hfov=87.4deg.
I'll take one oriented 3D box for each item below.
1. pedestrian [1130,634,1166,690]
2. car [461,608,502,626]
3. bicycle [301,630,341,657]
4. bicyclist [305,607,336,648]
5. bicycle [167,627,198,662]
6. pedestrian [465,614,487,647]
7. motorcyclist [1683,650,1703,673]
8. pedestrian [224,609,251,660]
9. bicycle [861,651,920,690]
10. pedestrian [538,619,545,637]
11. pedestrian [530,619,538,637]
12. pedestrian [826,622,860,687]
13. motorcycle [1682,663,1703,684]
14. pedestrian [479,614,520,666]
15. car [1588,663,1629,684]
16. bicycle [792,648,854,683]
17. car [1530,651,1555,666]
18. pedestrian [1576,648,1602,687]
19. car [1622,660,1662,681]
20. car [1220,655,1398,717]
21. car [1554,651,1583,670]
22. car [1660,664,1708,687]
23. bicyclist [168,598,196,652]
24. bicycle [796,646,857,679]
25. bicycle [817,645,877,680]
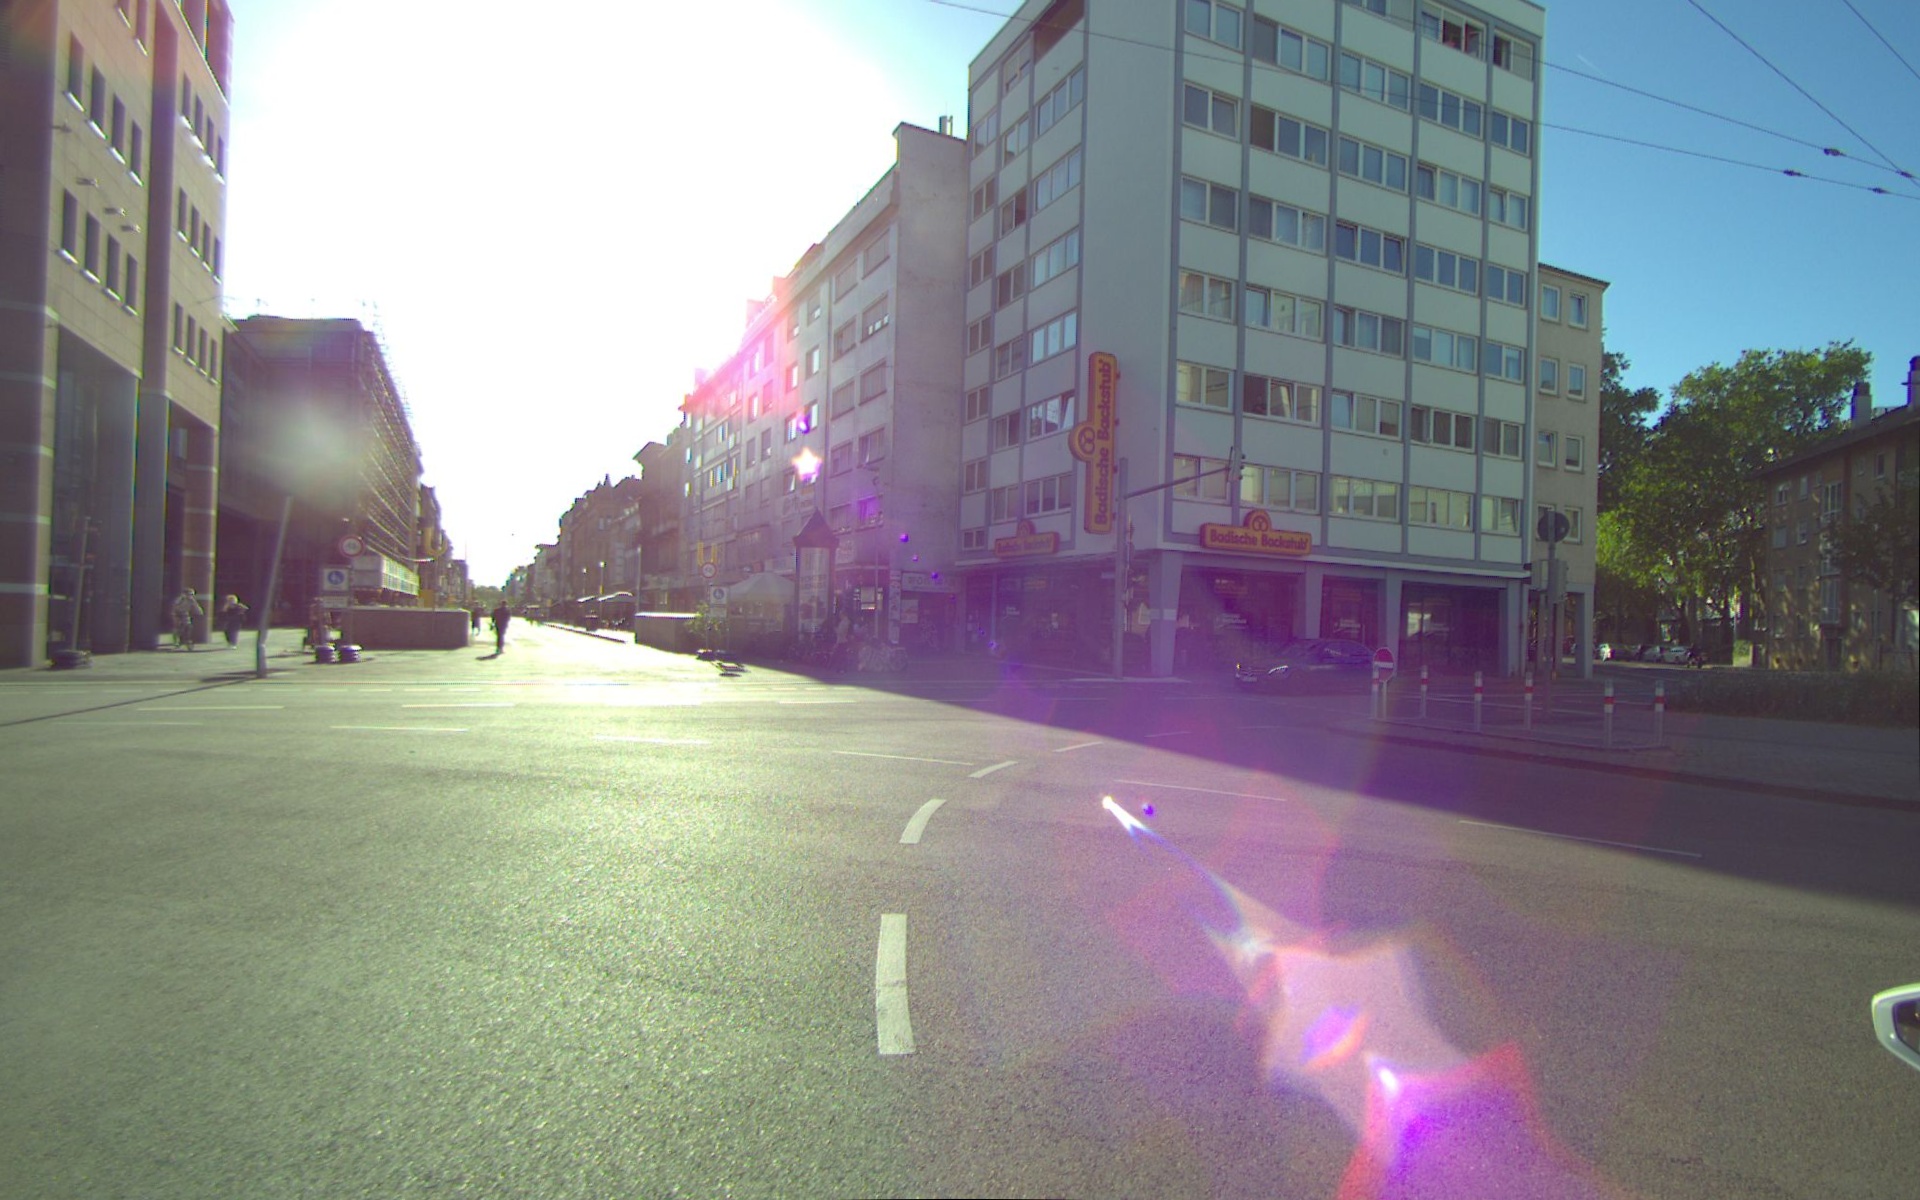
[{"bbox_3d":[5.996,1.967,32.019,0.766,1.747,0.802,2,0,-25],"label":"pedestrian"},{"bbox_3d":[-85.382,3.097,179.283,6.233,2.946,2.546,2,1,-33],"label":"car"},{"bbox_3d":[-21.331,1.448,33.510,1.989,0.818,0.614,1,0,42],"label":"bicycle"},{"bbox_3d":[-21.354,0.925,33.542,0.943,1.329,0.614,1,0,41],"label":"bicyclist"},{"bbox_3d":[-22.130,1.249,28.574,0.579,0.924,1.942,3,-2,-41],"label":"bicycle"},{"bbox_3d":[-25.366,1.601,52.639,0.683,1.687,0.753,1,-1,13],"label":"pedestrian"},{"bbox_3d":[46.449,3.891,63.657,0.958,1.365,1.133,2,1,38],"label":"motorcyclist"},{"bbox_3d":[-22.365,1.075,31.100,0.559,1.557,0.484,3,-2,-43],"label":"pedestrian"},{"bbox_3d":[-2.103,2.137,30.641,0.587,1.067,1.998,1,0,38],"label":"bicycle"},{"bbox_3d":[-40.347,2.707,96.786,0.499,1.709,0.661,2,1,-30],"label":"pedestrian"},{"bbox_3d":[-41.084,2.723,96.872,0.499,1.709,0.661,2,1,-30],"label":"pedestrian"},{"bbox_3d":[-3.352,1.550,28.808,0.774,1.815,0.626,3,-2,-25],"label":"pedestrian"},{"bbox_3d":[46.361,4.658,63.572,0.961,1.147,2.793,2,1,38],"label":"motorcycle"},{"bbox_3d":[-15.492,1.333,33.819,0.866,1.687,0.908,1,-1,9],"label":"pedestrian"},{"bbox_3d":[53.009,5.963,82.170,1.891,1.407,4.000,1,-1,19],"label":"car"},{"bbox_3d":[-4.520,2.153,33.140,1.986,1.067,0.591,1,0,-35],"label":"bicycle"},{"bbox_3d":[73.383,7.309,126.578,1.999,1.765,4.095,1,-2,19],"label":"car"},{"bbox_3d":[29.536,3.161,47.182,0.791,1.747,0.776,1,0,16],"label":"pedestrian"},{"bbox_3d":[62.029,6.390,91.407,1.999,1.638,4.094,0,-1,19],"label":"car"},{"bbox_3d":[9.044,2.174,25.933,4.541,1.404,1.824,2,-1,-30],"label":"car"},{"bbox_3d":[69.867,6.945,115.426,1.999,1.959,4.095,1,-2,19],"label":"car"},{"bbox_3d":[58.080,6.018,80.660,1.999,1.524,4.094,0,-1,19],"label":"car"},{"bbox_3d":[-22.130,0.701,28.576,0.579,1.504,0.740,1,0,-41],"label":"bicyclist"},{"bbox_3d":[-4.568,2.124,34.286,1.977,1.067,0.593,1,0,-23],"label":"bicycle"},{"bbox_3d":[-3.626,2.009,32.477,1.993,1.067,0.589,1,0,-45],"label":"bicycle"}]
